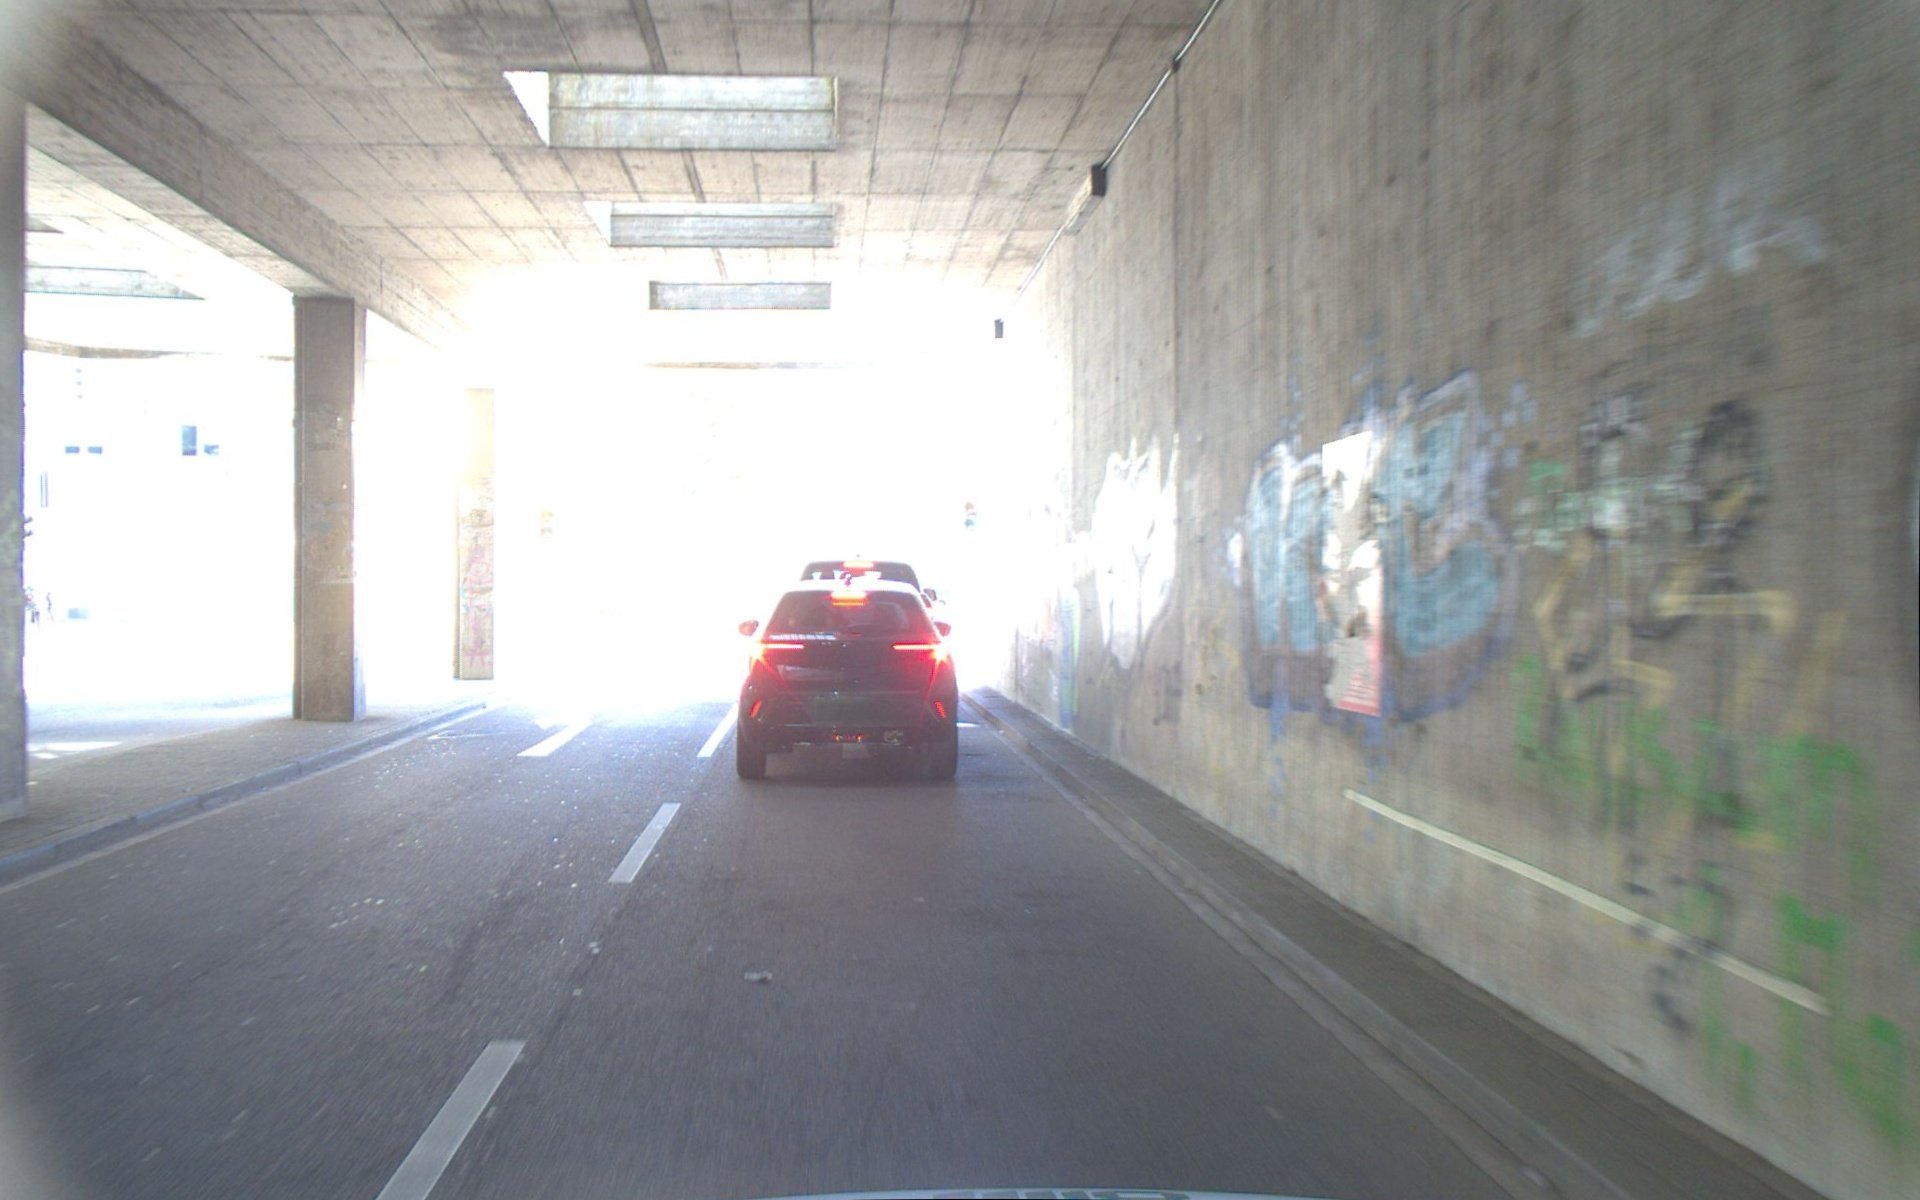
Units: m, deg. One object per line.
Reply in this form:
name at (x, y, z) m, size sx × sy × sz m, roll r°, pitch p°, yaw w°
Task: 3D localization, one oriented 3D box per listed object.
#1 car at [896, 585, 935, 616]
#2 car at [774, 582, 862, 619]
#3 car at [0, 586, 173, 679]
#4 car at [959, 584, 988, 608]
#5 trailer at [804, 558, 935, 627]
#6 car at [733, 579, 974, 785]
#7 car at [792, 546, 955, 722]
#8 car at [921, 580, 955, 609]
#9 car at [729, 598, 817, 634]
car at (-3.009, 0.010, 112.844) m, size 1.951 × 2.049 × 4.272 m, roll 0°, pitch 1°, yaw 8°
car at (-6.907, 0.024, 80.875) m, size 4.064 × 1.769 × 2.001 m, roll 0°, pitch 0°, yaw 2°
car at (-21.302, 0.741, 39.132) m, size 4.392 × 2.048 × 1.999 m, roll 0°, pitch 2°, yaw -5°
car at (1.210, -0.384, 146.094) m, size 1.951 × 2.049 × 4.272 m, roll 0°, pitch 1°, yaw 8°
trailer at (-2.748, -0.229, 50.995) m, size 3.905 × 2.049 × 2.000 m, roll 0°, pitch 0°, yaw 0°
car at (-0.941, 0.584, 14.414) m, size 1.790 × 1.527 × 4.207 m, roll 0°, pitch 1°, yaw -4°
car at (-1.141, 0.348, 20.512) m, size 1.780 × 1.915 × 4.581 m, roll 0°, pitch 1°, yaw -5°
car at (-1.631, -0.432, 123.452) m, size 1.951 × 2.049 × 4.272 m, roll 0°, pitch 1°, yaw 8°
car at (-8.607, 0.728, 76.383) m, size 3.906 × 1.601 × 1.639 m, roll 0°, pitch 0°, yaw -1°
